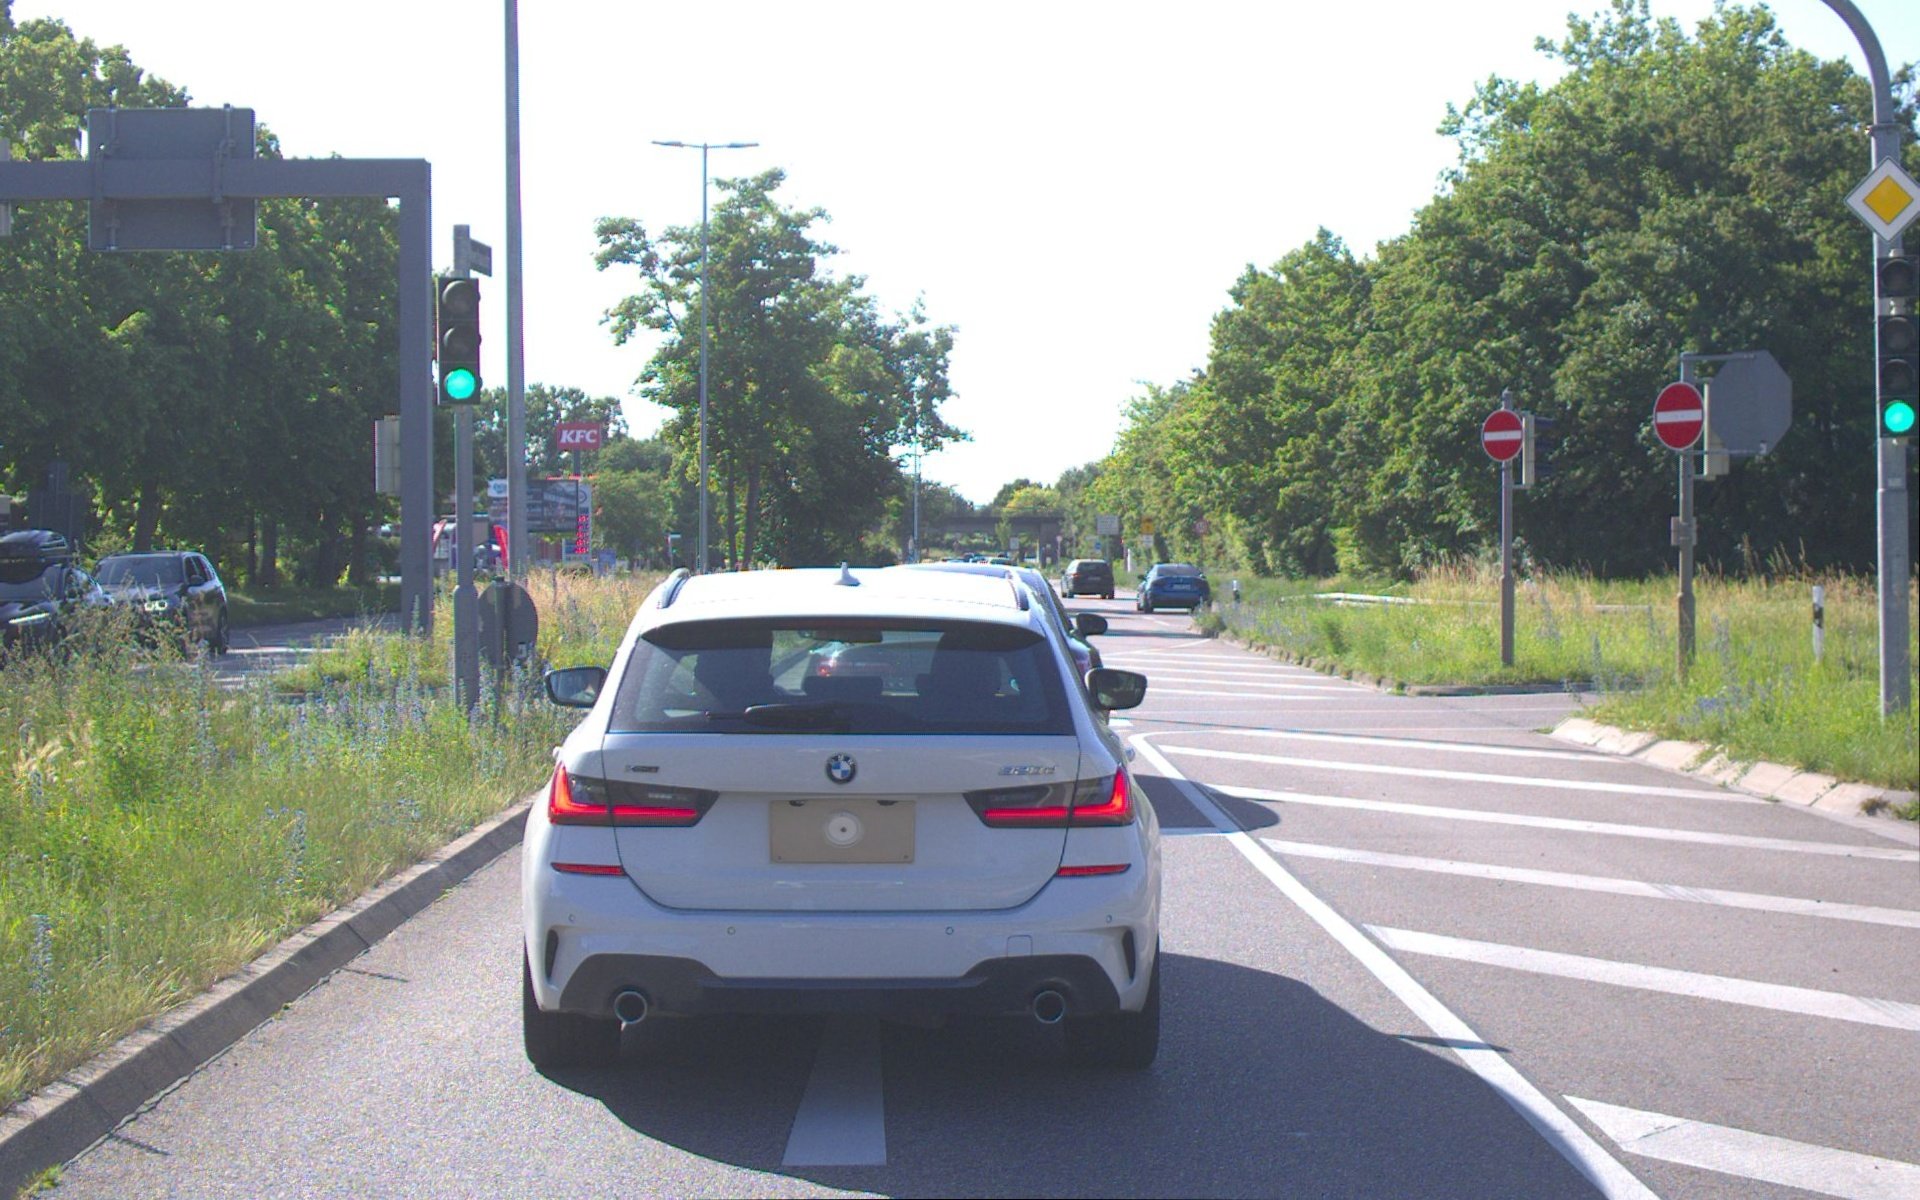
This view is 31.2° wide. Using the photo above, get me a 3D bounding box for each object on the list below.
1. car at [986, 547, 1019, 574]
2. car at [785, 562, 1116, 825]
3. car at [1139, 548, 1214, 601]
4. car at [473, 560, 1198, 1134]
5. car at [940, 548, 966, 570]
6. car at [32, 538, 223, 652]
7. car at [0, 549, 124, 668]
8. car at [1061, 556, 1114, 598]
[{"bbox_3d":[2.509,-2.377,205.298,1.861,1.560,4.548,-1,1,0],"label":"car"},{"bbox_3d":[-0.070,0.505,21.701,1.861,1.450,4.548,0,1,0],"label":"car"},{"bbox_3d":[6.239,-0.752,99.503,1.861,1.494,4.337,0,1,0],"label":"car"},{"bbox_3d":[-0.315,0.611,11.127,1.861,1.450,4.548,0,1,0],"label":"car"},{"bbox_3d":[-0.499,-2.978,251.811,1.861,1.560,4.548,-1,1,0],"label":"car"},{"bbox_3d":[-13.436,-0.114,55.743,1.942,1.691,4.630,-2,1,0],"label":"car"},{"bbox_3d":[-12.936,0.098,46.948,1.876,1.537,4.573,-2,1,0],"label":"car"},{"bbox_3d":[4.870,-0.908,131.568,1.771,1.550,3.833,0,1,-2],"label":"car"}]
